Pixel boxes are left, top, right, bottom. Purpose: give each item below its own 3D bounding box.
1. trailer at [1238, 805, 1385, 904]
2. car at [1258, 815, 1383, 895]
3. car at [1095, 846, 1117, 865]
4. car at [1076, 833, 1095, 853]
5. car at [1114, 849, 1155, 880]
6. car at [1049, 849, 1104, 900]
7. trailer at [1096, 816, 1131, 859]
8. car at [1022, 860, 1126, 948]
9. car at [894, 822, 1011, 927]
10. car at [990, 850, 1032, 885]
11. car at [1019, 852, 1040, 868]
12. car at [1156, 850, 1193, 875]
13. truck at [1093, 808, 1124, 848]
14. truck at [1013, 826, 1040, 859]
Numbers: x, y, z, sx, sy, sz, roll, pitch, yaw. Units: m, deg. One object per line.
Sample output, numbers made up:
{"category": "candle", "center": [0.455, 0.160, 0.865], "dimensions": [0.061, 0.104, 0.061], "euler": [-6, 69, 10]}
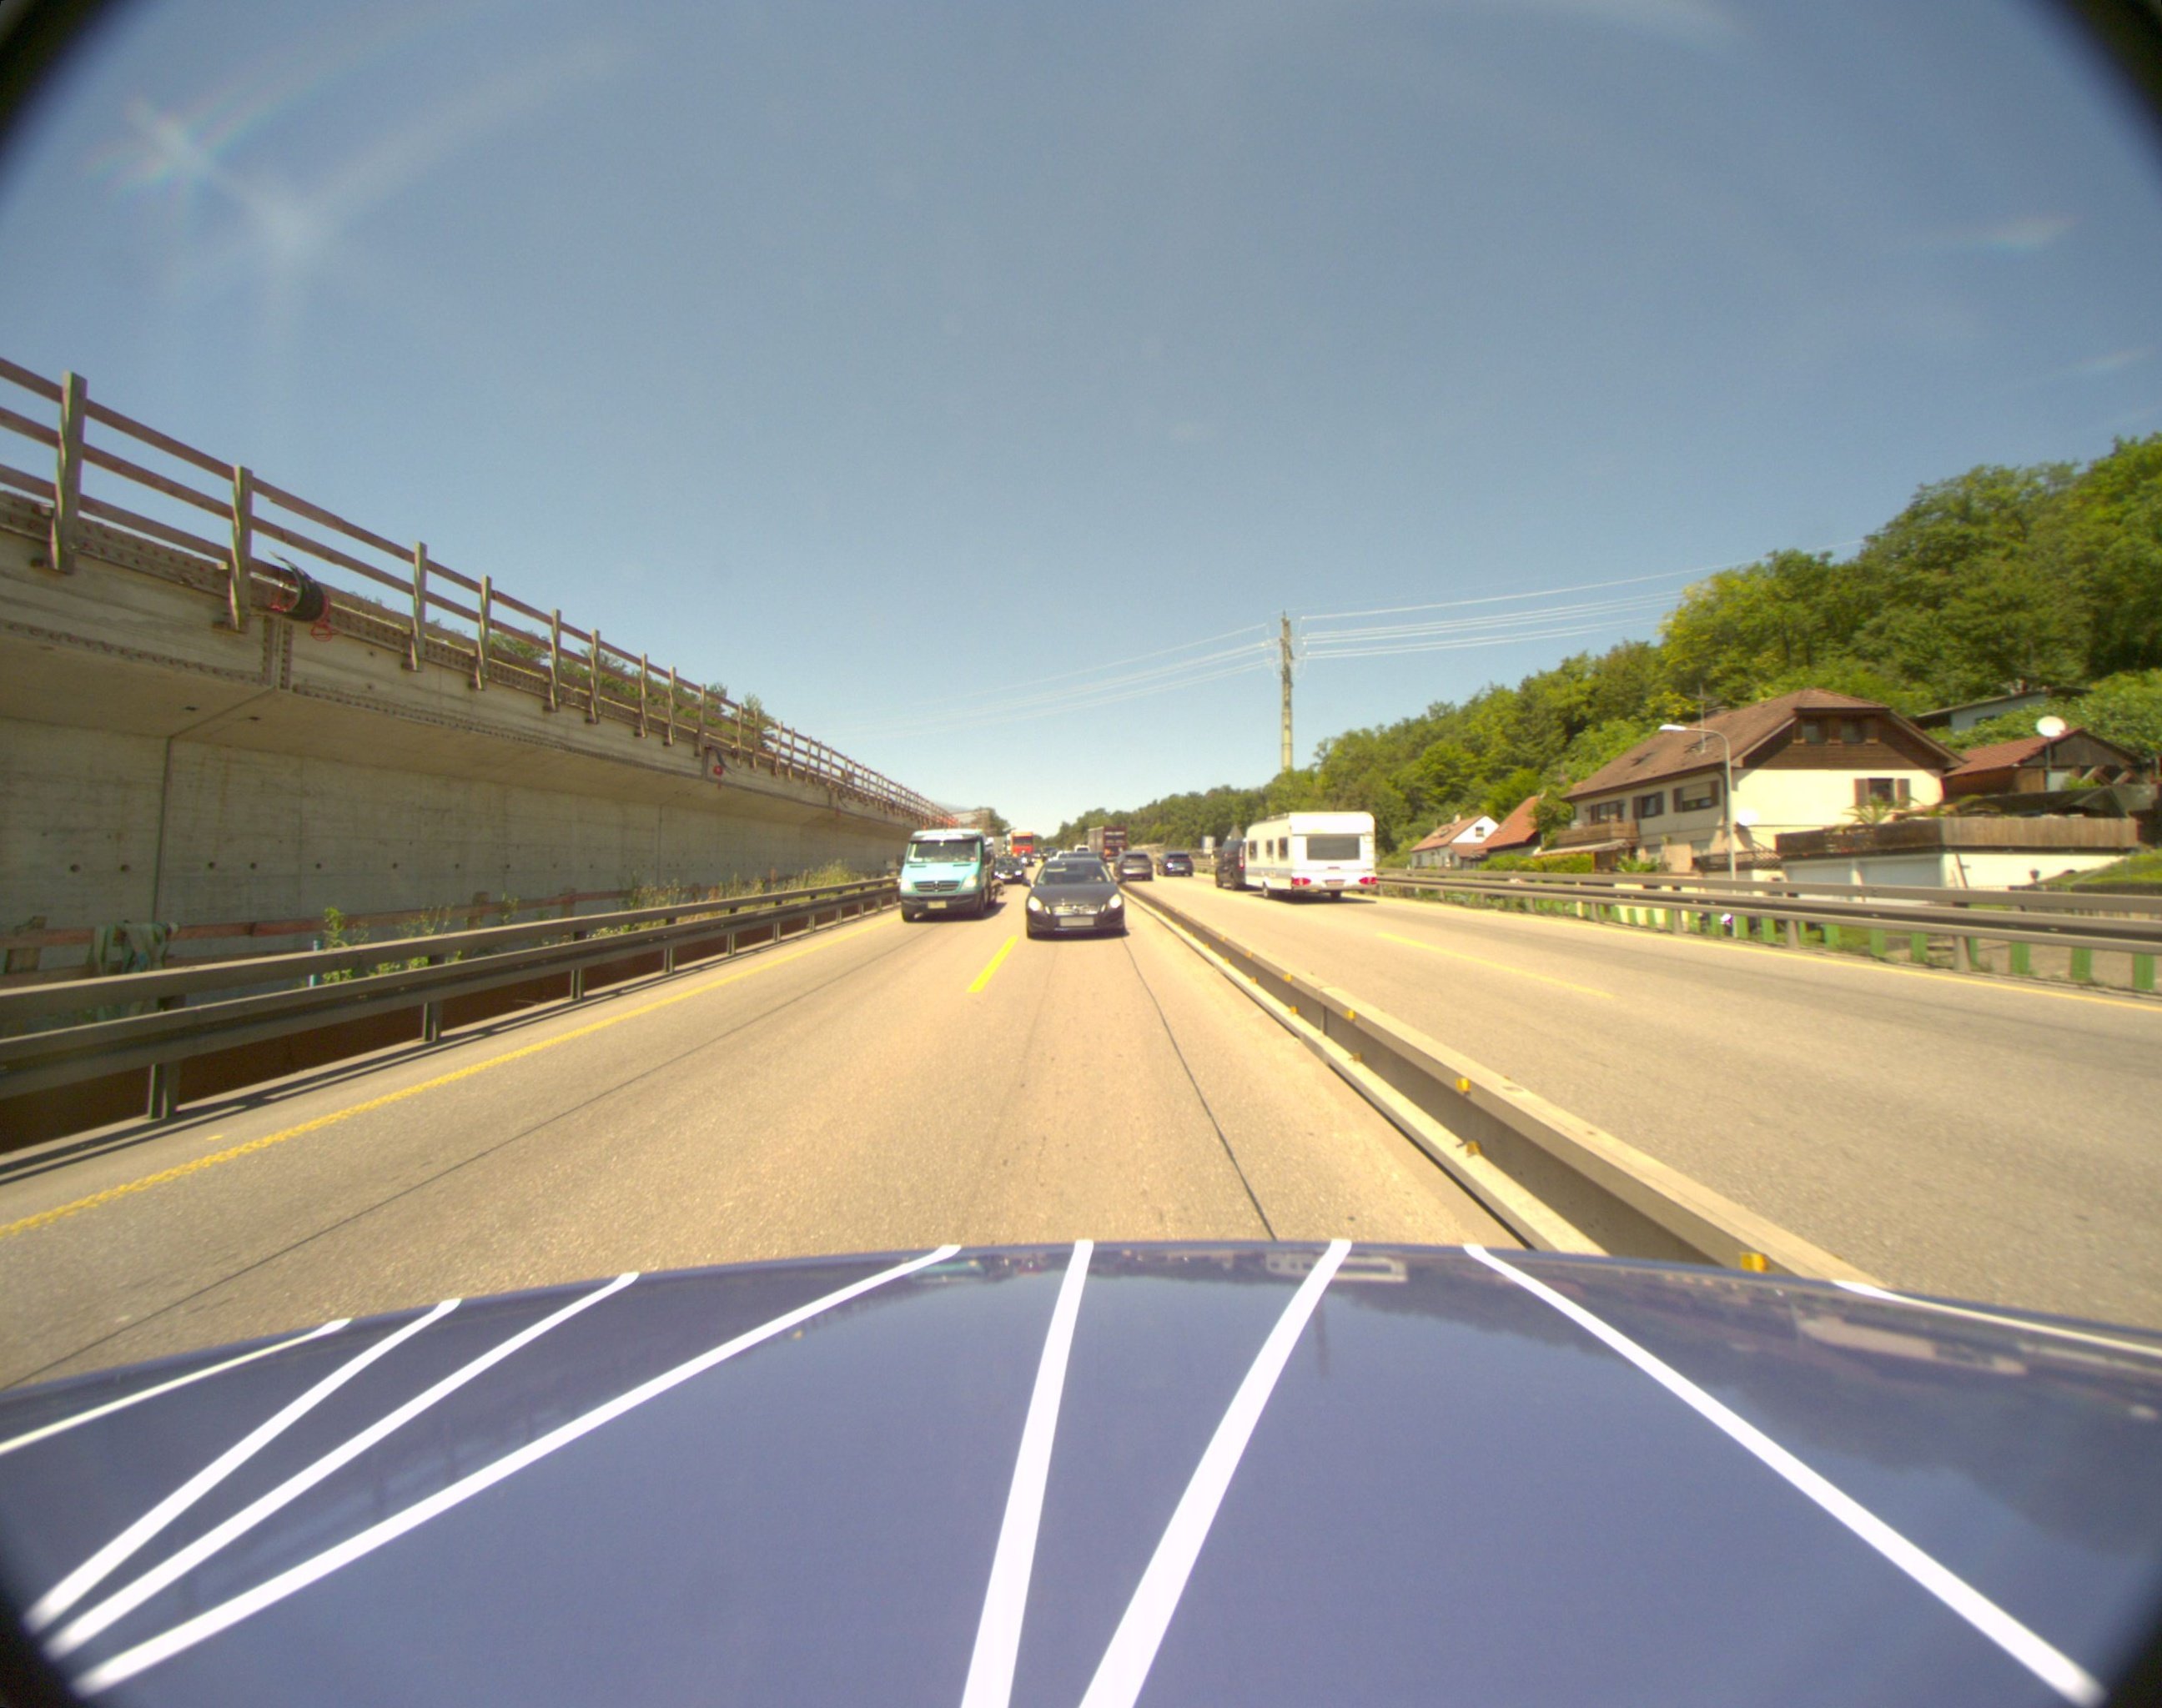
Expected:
{"category": "trailer", "center": [6.791, -0.030, 23.351], "dimensions": [2.606, 2.573, 6.240], "euler": [-1, 1, 0]}
{"category": "car", "center": [6.697, 0.001, 21.914], "dimensions": [1.998, 2.002, 4.979], "euler": [-2, 1, 0]}
{"category": "car", "center": [2.266, 0.119, 69.320], "dimensions": [1.859, 1.609, 3.999], "euler": [-2, 1, 0]}
{"category": "car", "center": [0.497, -1.278, 89.321], "dimensions": [1.860, 2.138, 5.564], "euler": [-2, 1, -3]}
{"category": "car", "center": [2.863, 0.556, 41.550], "dimensions": [1.802, 1.577, 4.321], "euler": [-1, 0, -2]}
{"category": "car", "center": [-0.152, 0.689, 28.193], "dimensions": [1.859, 1.650, 3.999], "euler": [-2, 1, 0]}
{"category": "trailer", "center": [3.731, -1.904, 90.674], "dimensions": [3.129, 4.687, 12.075], "euler": [-2, 1, -2]}
{"category": "car", "center": [-0.152, 0.887, 15.337], "dimensions": [1.793, 1.440, 4.297], "euler": [0, 0, -1]}
{"category": "car", "center": [-3.308, 0.458, 21.242], "dimensions": [1.968, 2.367, 7.209], "euler": [-2, 0, 0]}
{"category": "car", "center": [-3.658, 0.672, 40.373], "dimensions": [1.859, 1.650, 3.999], "euler": [-2, 1, 0]}
{"category": "car", "center": [-5.049, 0.571, 75.157], "dimensions": [1.674, 1.499, 3.648], "euler": [-2, 1, 2]}
{"category": "car", "center": [5.783, 0.494, 47.235], "dimensions": [1.630, 1.506, 3.855], "euler": [-1, 0, -3]}
{"category": "truck", "center": [3.411, -3.229, 97.730], "dimensions": [3.182, 4.734, 9.120], "euler": [-2, 1, -2]}
{"category": "truck", "center": [-6.859, -1.453, 96.754], "dimensions": [2.650, 3.978, 11.194], "euler": [-2, 1, -1]}
